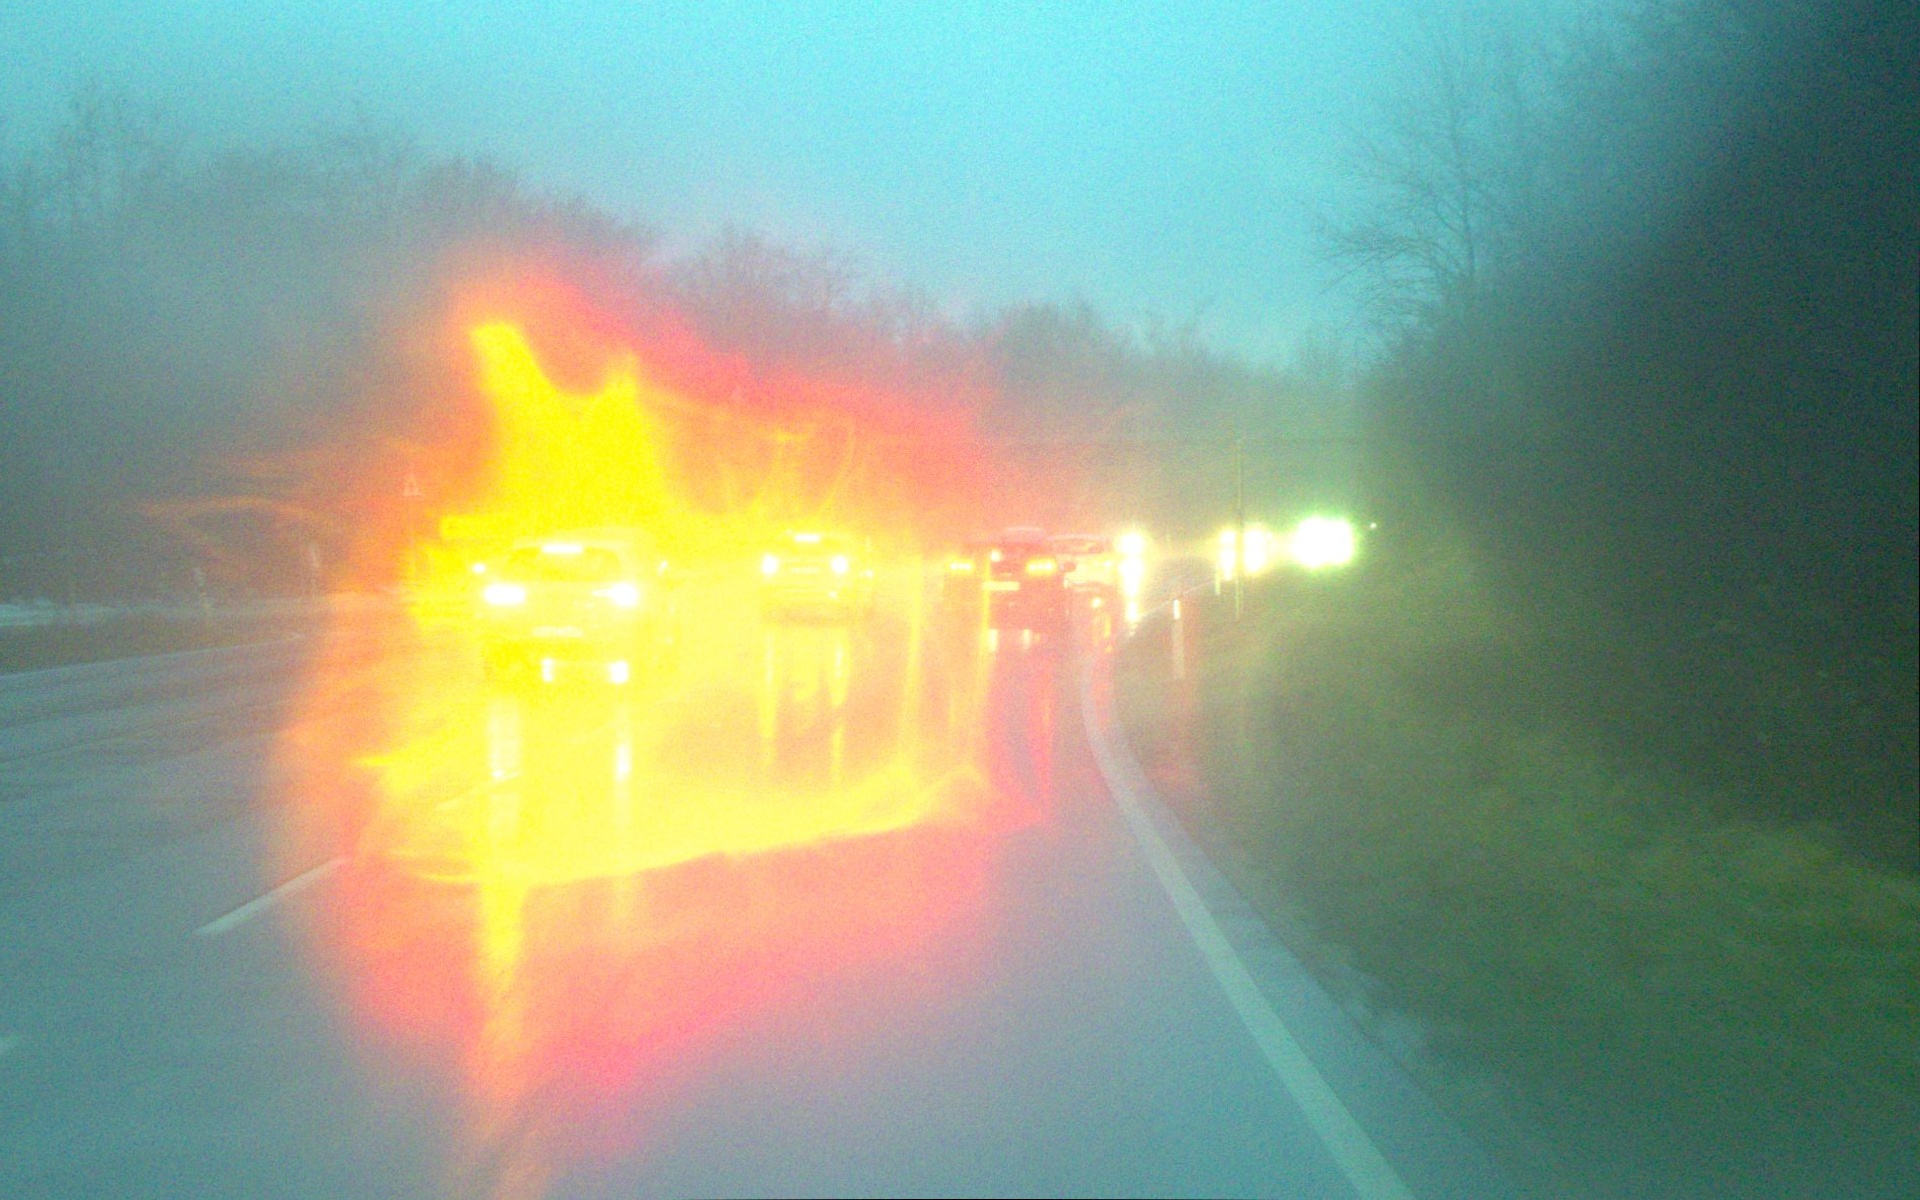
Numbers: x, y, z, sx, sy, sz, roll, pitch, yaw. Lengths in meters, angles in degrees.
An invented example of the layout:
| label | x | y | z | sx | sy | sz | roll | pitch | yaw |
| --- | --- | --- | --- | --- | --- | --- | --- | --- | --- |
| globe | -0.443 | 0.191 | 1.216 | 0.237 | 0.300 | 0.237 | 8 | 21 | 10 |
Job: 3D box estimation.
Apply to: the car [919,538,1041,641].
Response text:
| label | x | y | z | sx | sy | sz | roll | pitch | yaw |
| --- | --- | --- | --- | --- | --- | --- | --- | --- | --- |
| car | 0.311 | -0.184 | 49.853 | 1.679 | 1.385 | 4.098 | 0 | 1 | 1 |

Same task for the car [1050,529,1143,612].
| label | x | y | z | sx | sy | sz | roll | pitch | yaw |
| --- | --- | --- | --- | --- | --- | --- | --- | --- | --- |
| car | 2.918 | -0.655 | 72.613 | 1.679 | 1.669 | 4.097 | 0 | 1 | 6 |

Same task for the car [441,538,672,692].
| label | x | y | z | sx | sy | sz | roll | pitch | yaw |
| --- | --- | --- | --- | --- | --- | --- | --- | --- | --- |
| car | -4.335 | 0.115 | 37.604 | 2.005 | 1.550 | 4.517 | 1 | 1 | 0 |

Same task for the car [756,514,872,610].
| label | x | y | z | sx | sy | sz | roll | pitch | yaw |
| --- | --- | --- | --- | --- | --- | --- | --- | --- | --- |
| car | -2.565 | -0.698 | 61.195 | 1.713 | 1.621 | 4.218 | 1 | 1 | 2 |
